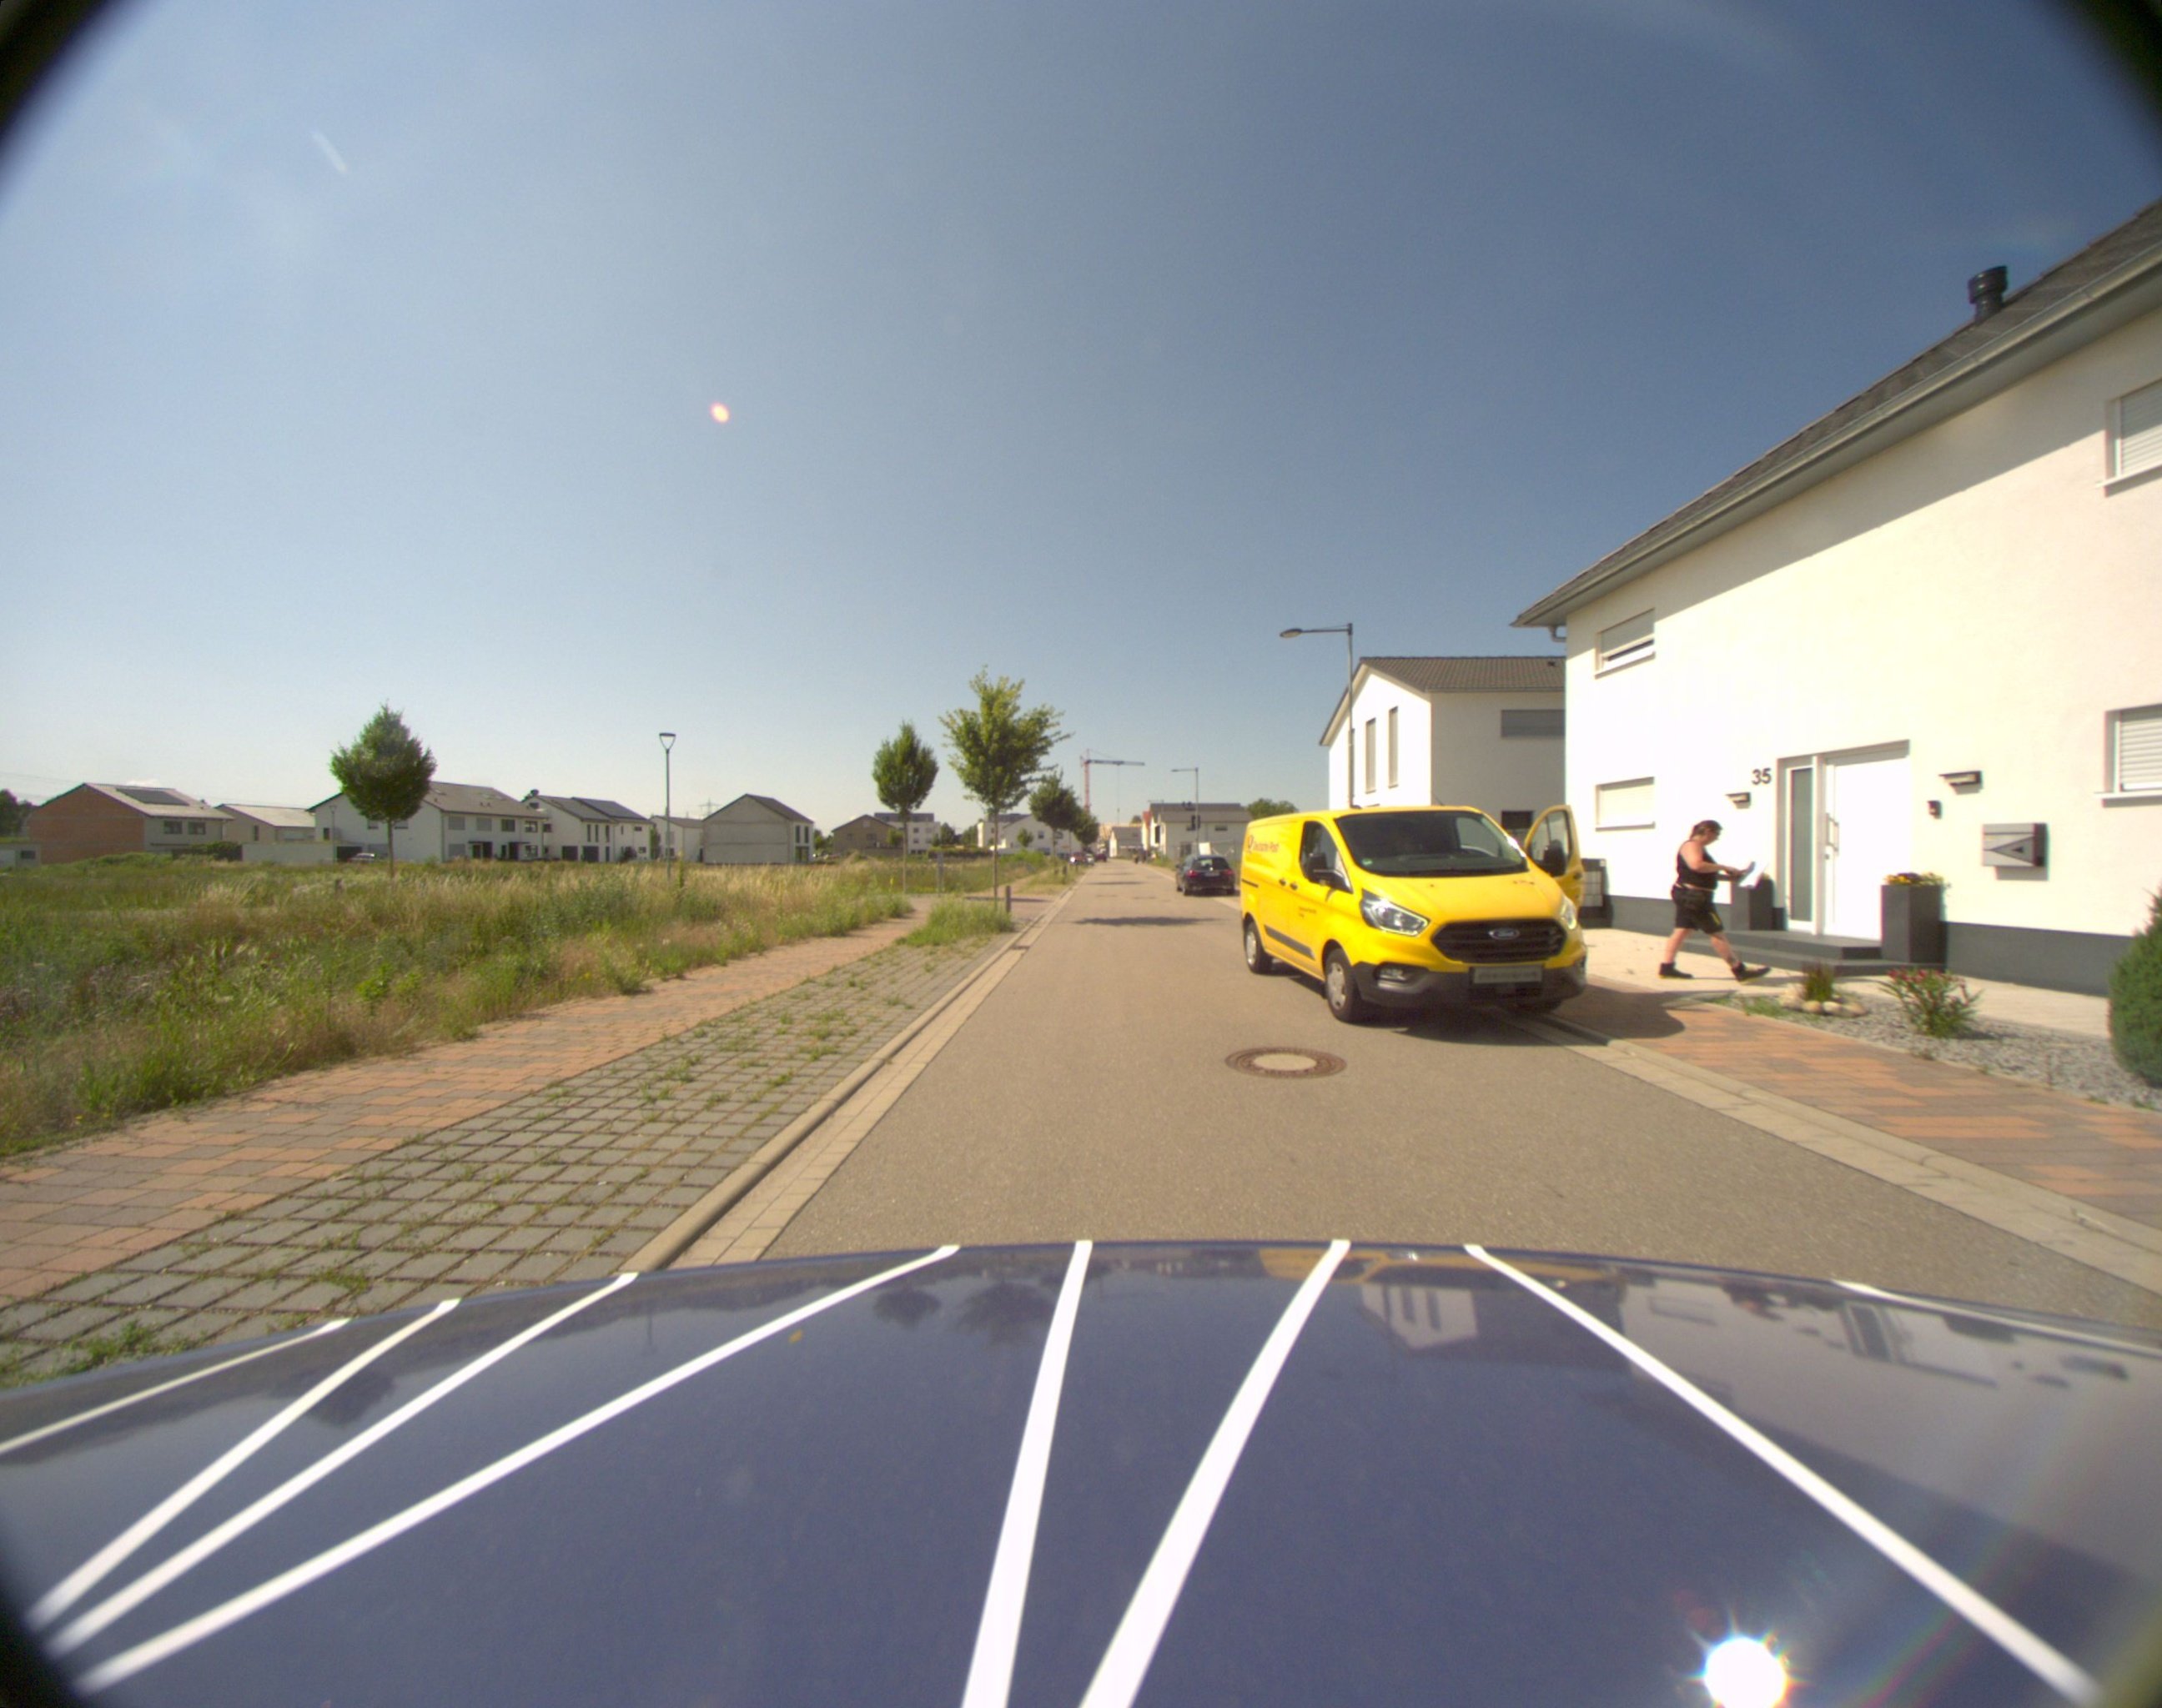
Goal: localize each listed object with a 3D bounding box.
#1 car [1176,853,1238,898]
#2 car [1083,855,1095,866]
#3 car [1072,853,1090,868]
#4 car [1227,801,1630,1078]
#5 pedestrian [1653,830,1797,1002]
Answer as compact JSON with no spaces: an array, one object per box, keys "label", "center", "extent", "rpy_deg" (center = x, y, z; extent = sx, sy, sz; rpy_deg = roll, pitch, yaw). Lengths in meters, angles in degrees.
[{"label":"car","center":[4.536,0.729,27.916],"extent":[1.694,1.464,4.445],"rpy_deg":[-2,0,2]},{"label":"car","center":[1.120,0.878,99.499],"extent":[1.493,1.389,3.272],"rpy_deg":[-1,0,2]},{"label":"car","center":[-0.005,0.650,79.925],"extent":[1.768,1.483,4.000],"rpy_deg":[-1,0,2]},{"label":"car","center":[3.060,0.621,8.064],"extent":[1.889,2.002,4.840],"rpy_deg":[-2,0,-2]},{"label":"pedestrian","center":[6.545,0.618,7.758],"extent":[0.931,1.675,0.537],"rpy_deg":[-3,1,11]}]
